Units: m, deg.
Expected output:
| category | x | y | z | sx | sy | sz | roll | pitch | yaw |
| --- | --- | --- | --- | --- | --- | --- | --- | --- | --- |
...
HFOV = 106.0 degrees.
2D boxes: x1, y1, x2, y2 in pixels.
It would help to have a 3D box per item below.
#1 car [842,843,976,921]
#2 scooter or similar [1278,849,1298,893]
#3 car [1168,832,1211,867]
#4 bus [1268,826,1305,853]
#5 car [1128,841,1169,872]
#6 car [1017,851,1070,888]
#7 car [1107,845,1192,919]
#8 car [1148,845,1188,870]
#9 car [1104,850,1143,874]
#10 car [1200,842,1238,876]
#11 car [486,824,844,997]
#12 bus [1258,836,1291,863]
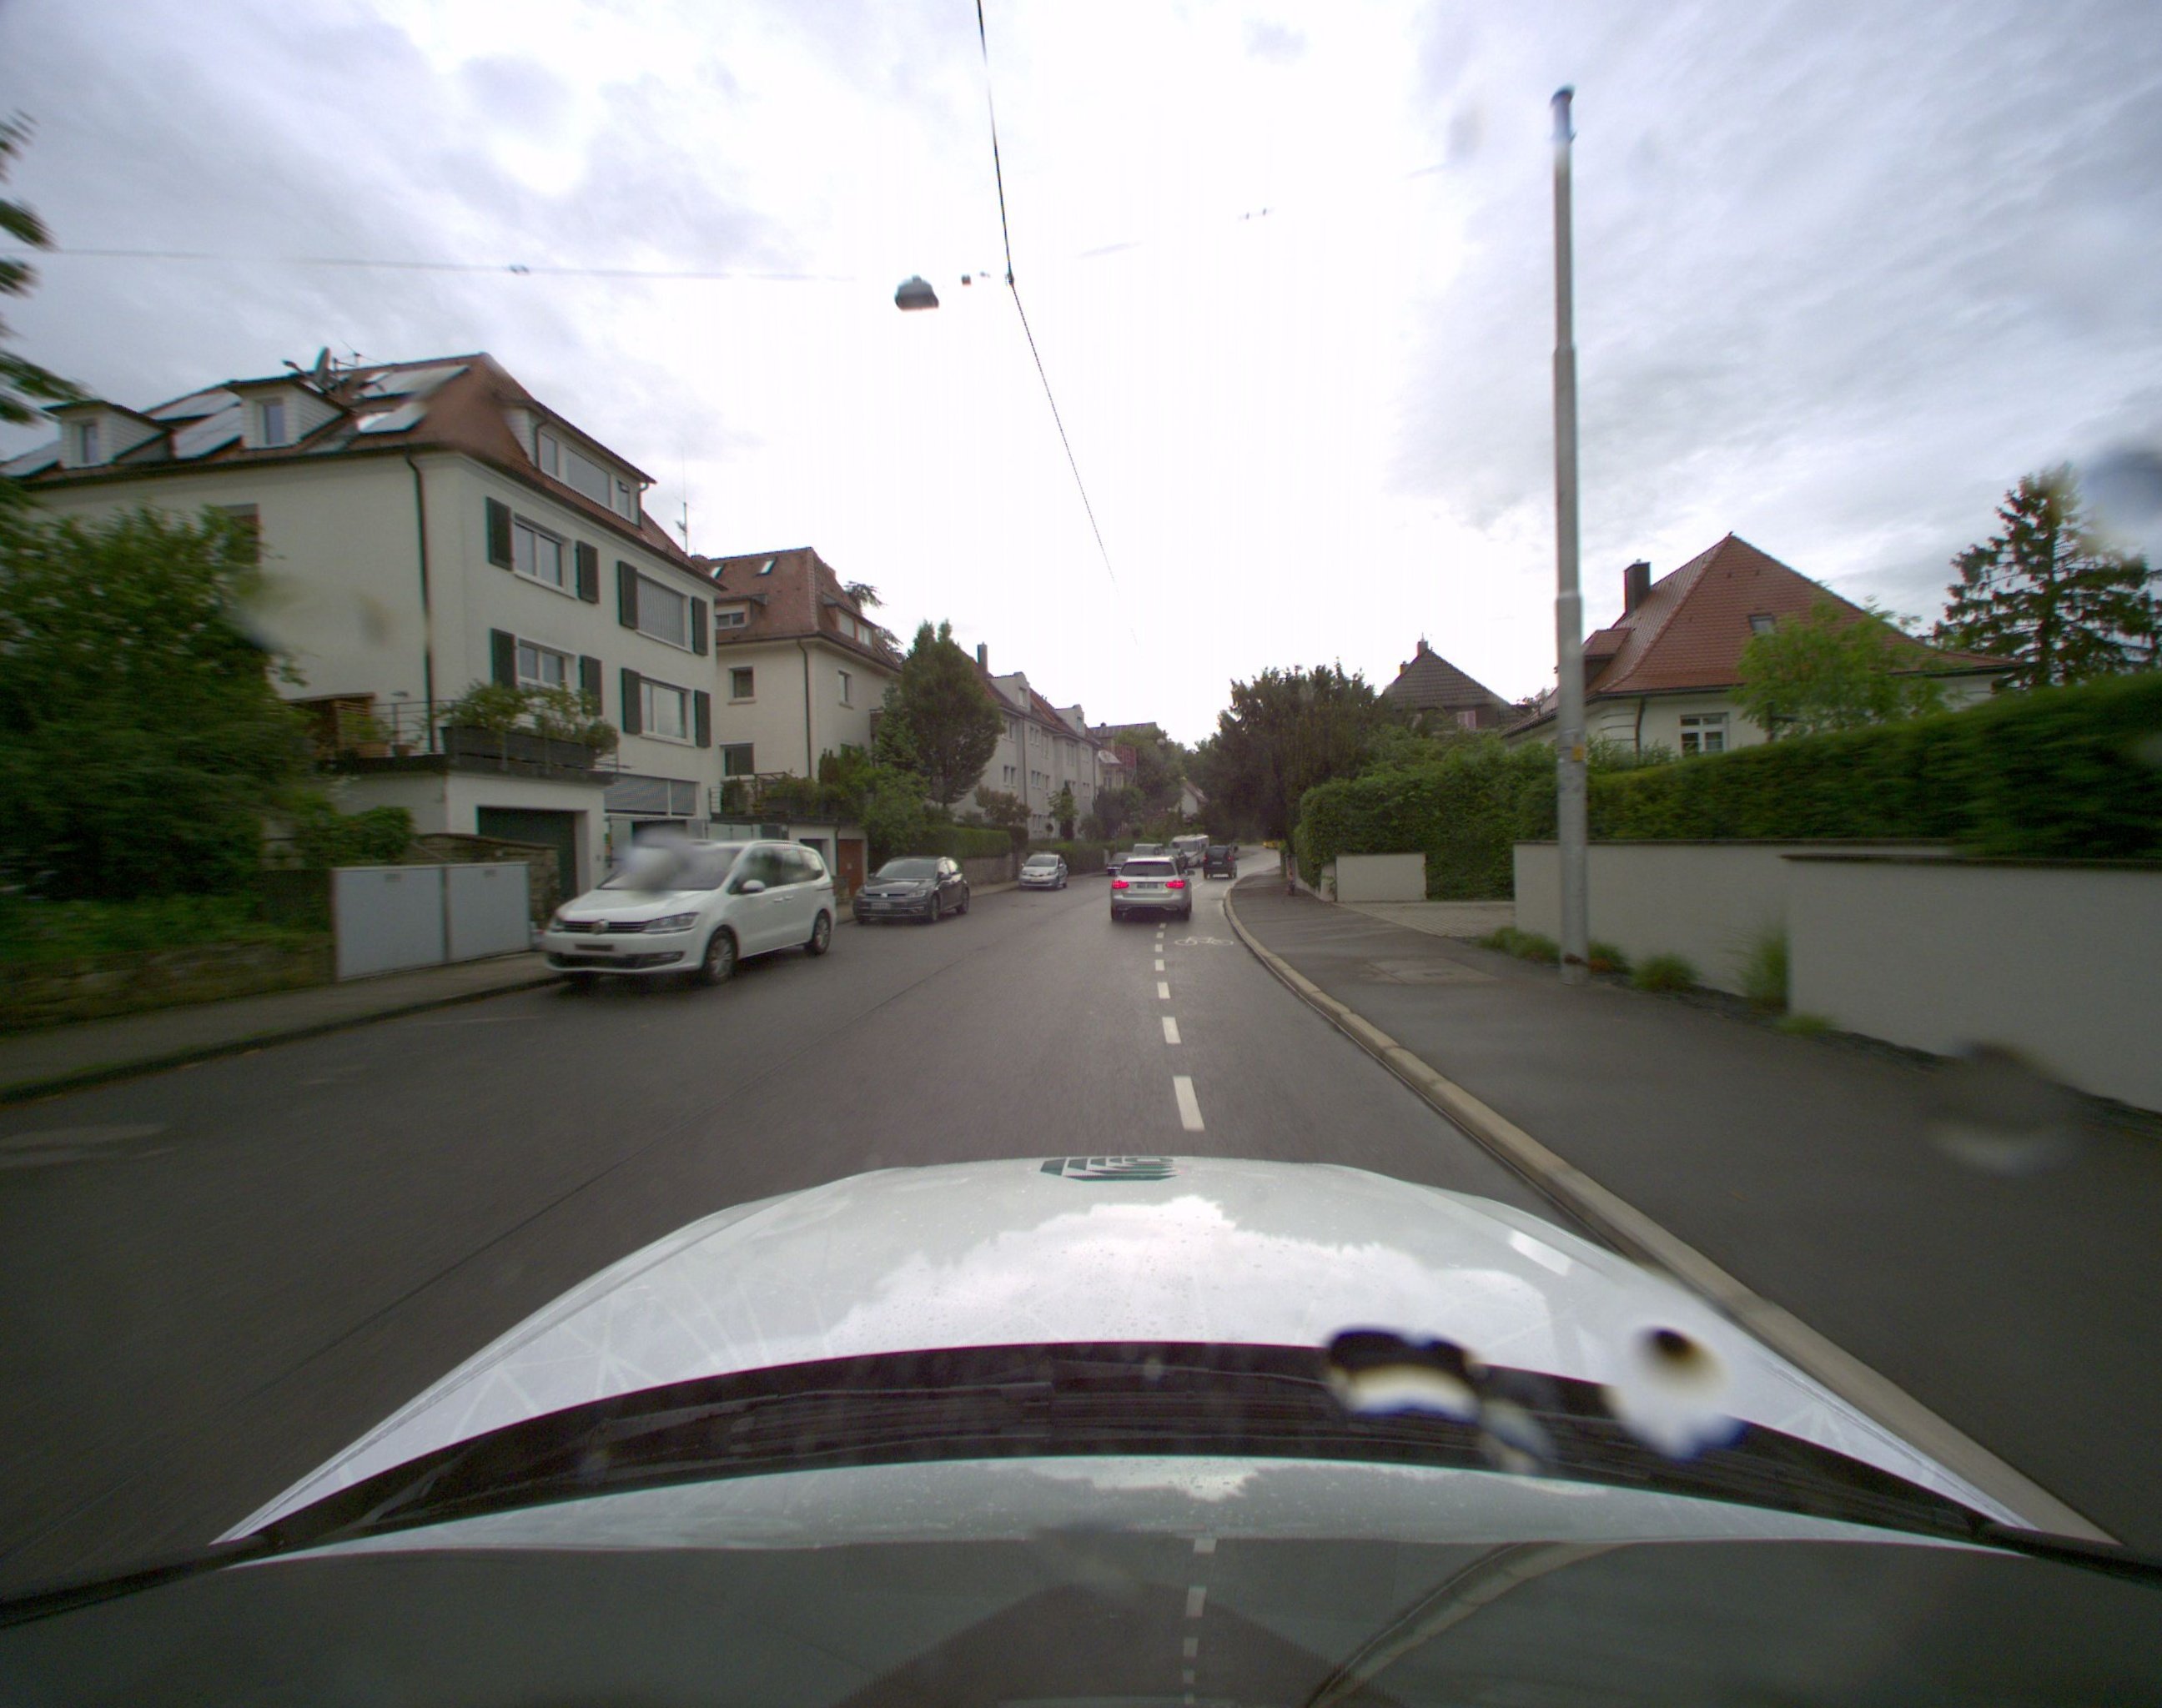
| category | x | y | z | sx | sy | sz | roll | pitch | yaw |
| --- | --- | --- | --- | --- | --- | --- | --- | --- | --- |
| car | -3.879 | 0.563 | 19.126 | 1.782 | 1.580 | 4.146 | 2 | 1 | 7 |
| scooter or similar | 6.381 | 0.522 | 25.145 | 0.447 | 1.307 | 1.485 | -2 | -1 | 9 |
| car | 9.405 | -0.478 | 70.135 | 2.371 | 2.771 | 6.565 | 0 | 2 | 19 |
| bus | 29.328 | -2.165 | 116.781 | 2.918 | 3.650 | 10.172 | 0 | 3 | 1 |
| car | 4.784 | 0.168 | 57.142 | 1.815 | 2.056 | 5.031 | 0 | 0 | 17 |
| car | -1.531 | 0.616 | 34.431 | 1.596 | 1.486 | 3.495 | 0 | 0 | 8 |
| car | 1.732 | 0.573 | 19.425 | 1.806 | 1.556 | 4.009 | 0 | 1 | 8 |
| car | 6.706 | 0.230 | 62.556 | 1.977 | 1.688 | 4.701 | 0 | 3 | 20 |
| car | 2.751 | 0.450 | 51.676 | 1.632 | 1.417 | 4.630 | 0 | 1 | 14 |
| car | 8.076 | 0.276 | 47.371 | 1.829 | 1.904 | 4.016 | 0 | 0 | 15 |
| car | -4.971 | 0.543 | 10.734 | 1.985 | 1.702 | 4.744 | 2 | 1 | 4 |
| bus | 29.511 | -0.757 | 124.719 | 2.918 | 3.650 | 10.307 | 0 | 3 | 1 |
